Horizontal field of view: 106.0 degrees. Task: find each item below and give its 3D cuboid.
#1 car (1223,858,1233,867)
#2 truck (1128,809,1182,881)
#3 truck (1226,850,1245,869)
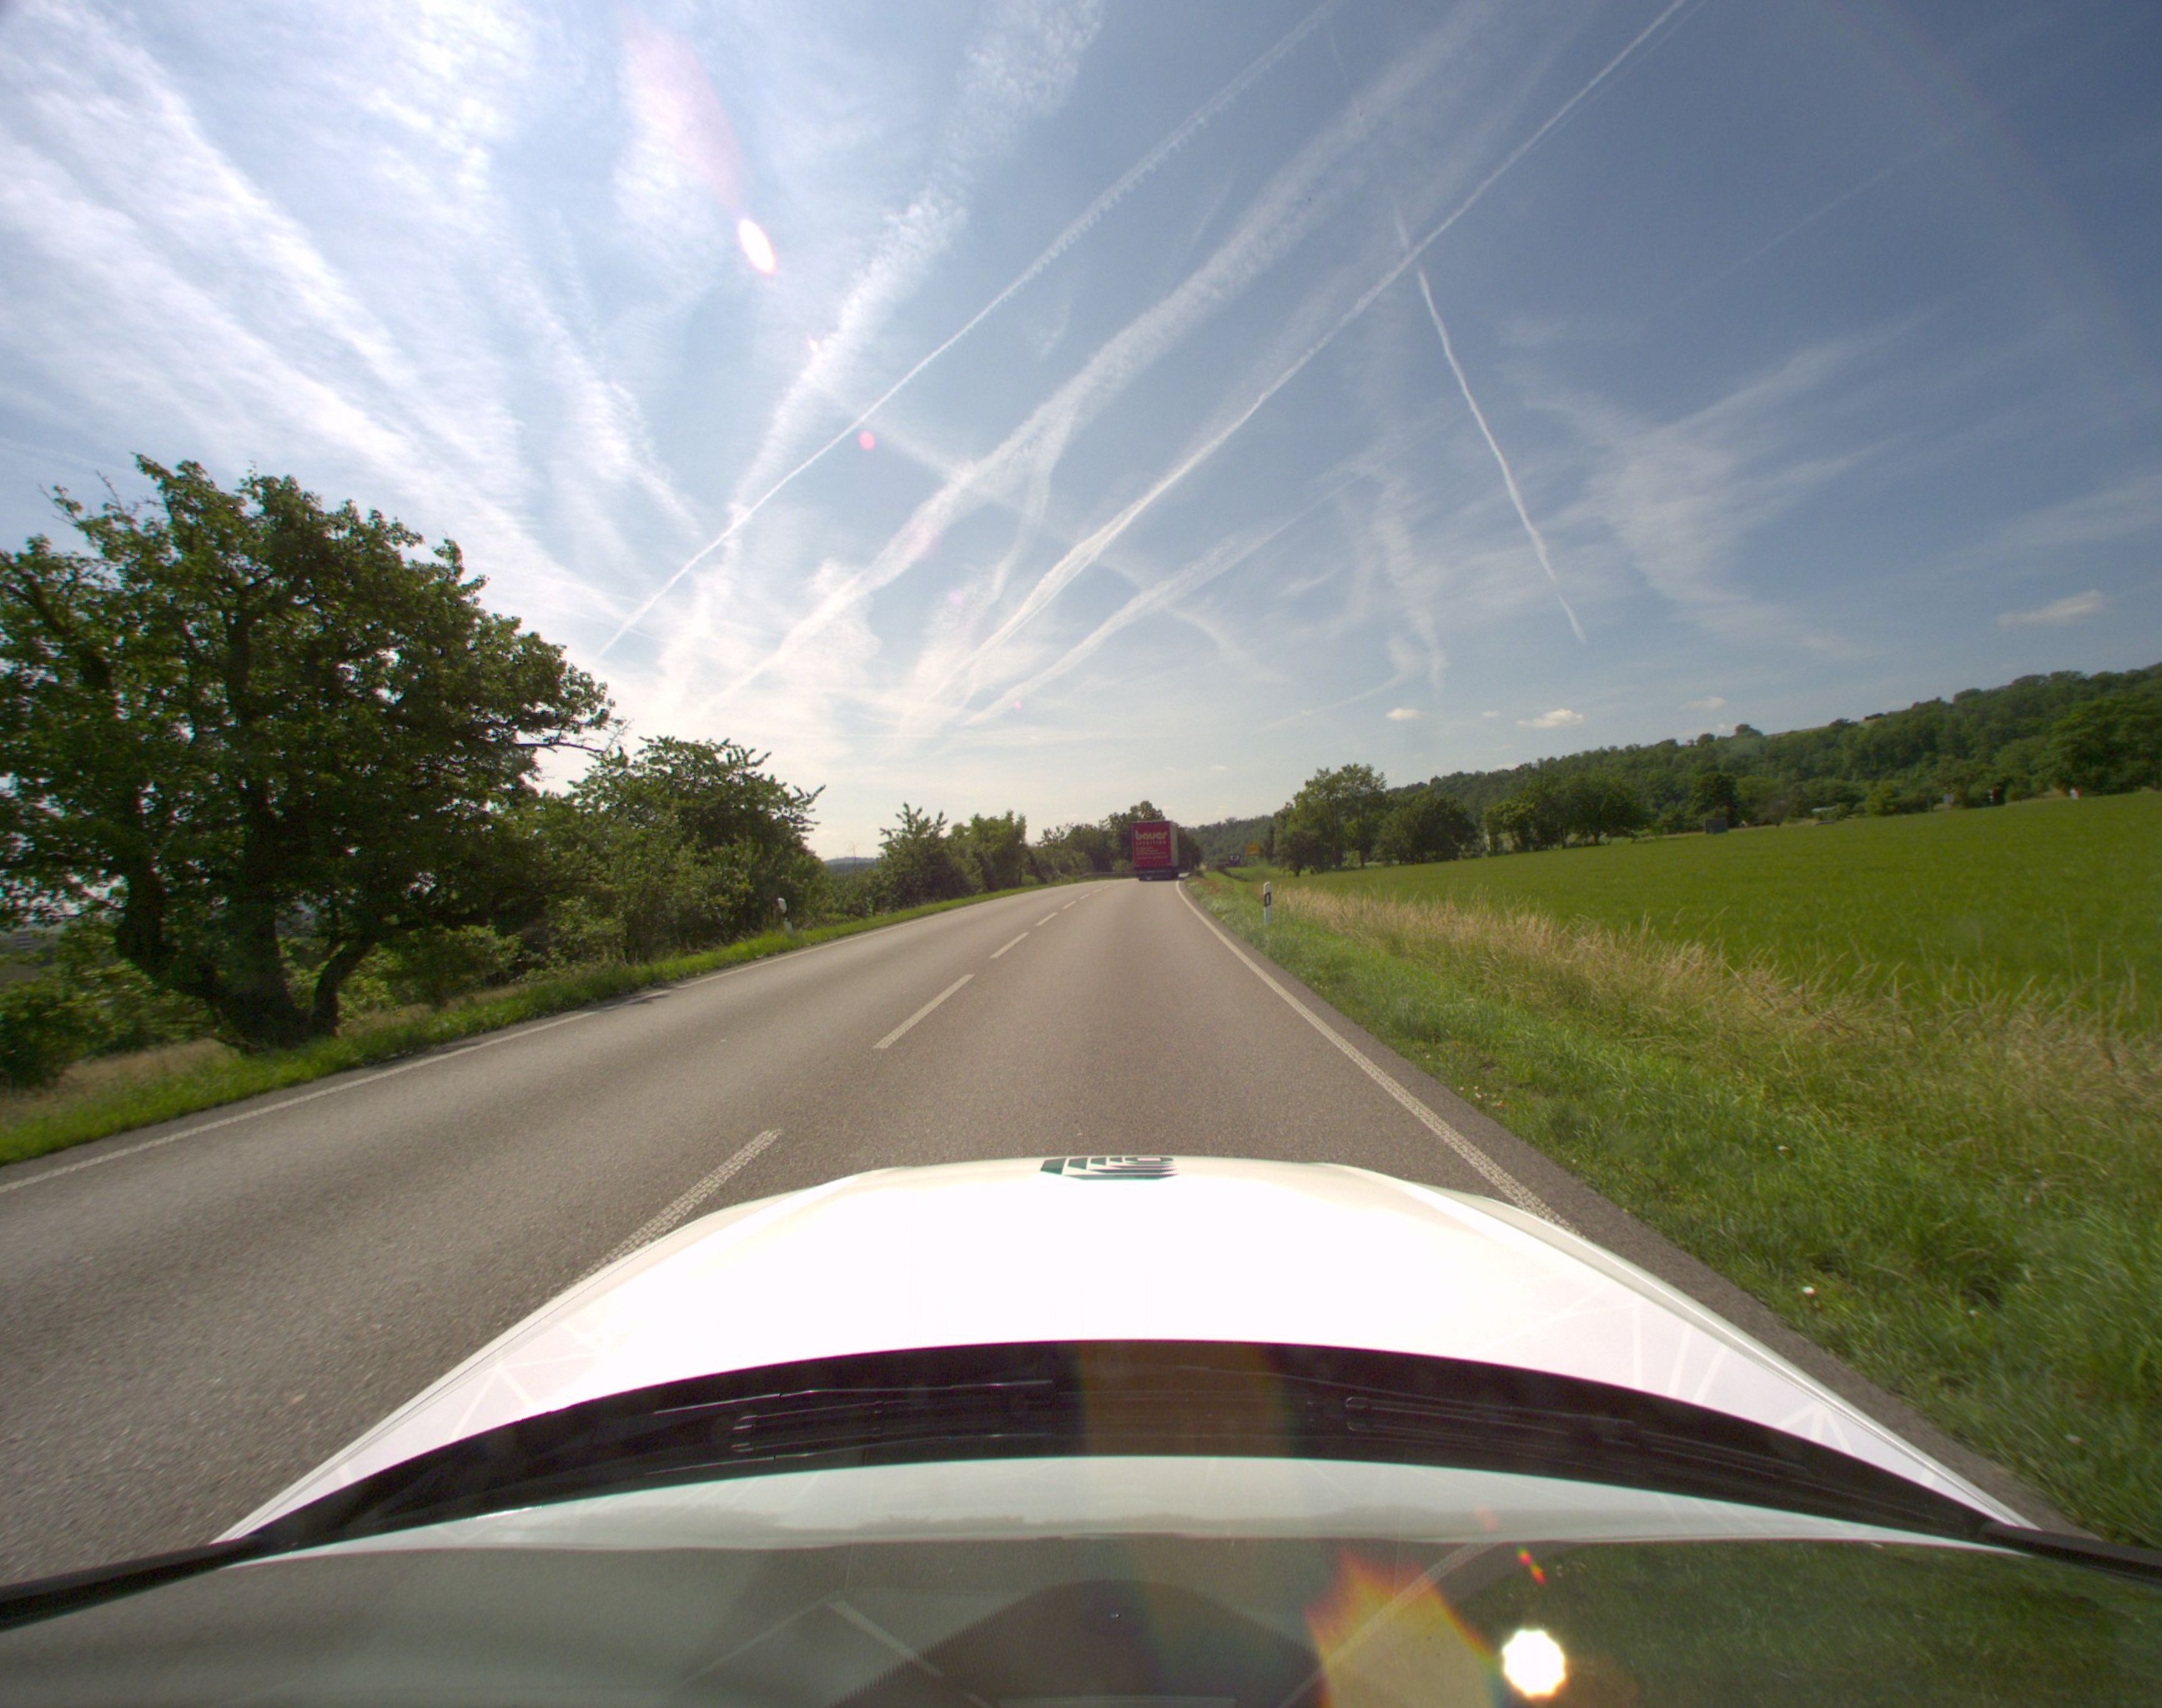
[{"bbox_3d":[31.329,1.851,173.348,1.981,1.810,4.011,-1,-3,11],"label":"car"},{"bbox_3d":[5.673,-0.588,60.120,3.154,4.625,13.574,-2,0,8],"label":"truck"},{"bbox_3d":[38.438,1.465,201.989,3.877,4.370,13.338,-2,-3,14],"label":"truck"}]
